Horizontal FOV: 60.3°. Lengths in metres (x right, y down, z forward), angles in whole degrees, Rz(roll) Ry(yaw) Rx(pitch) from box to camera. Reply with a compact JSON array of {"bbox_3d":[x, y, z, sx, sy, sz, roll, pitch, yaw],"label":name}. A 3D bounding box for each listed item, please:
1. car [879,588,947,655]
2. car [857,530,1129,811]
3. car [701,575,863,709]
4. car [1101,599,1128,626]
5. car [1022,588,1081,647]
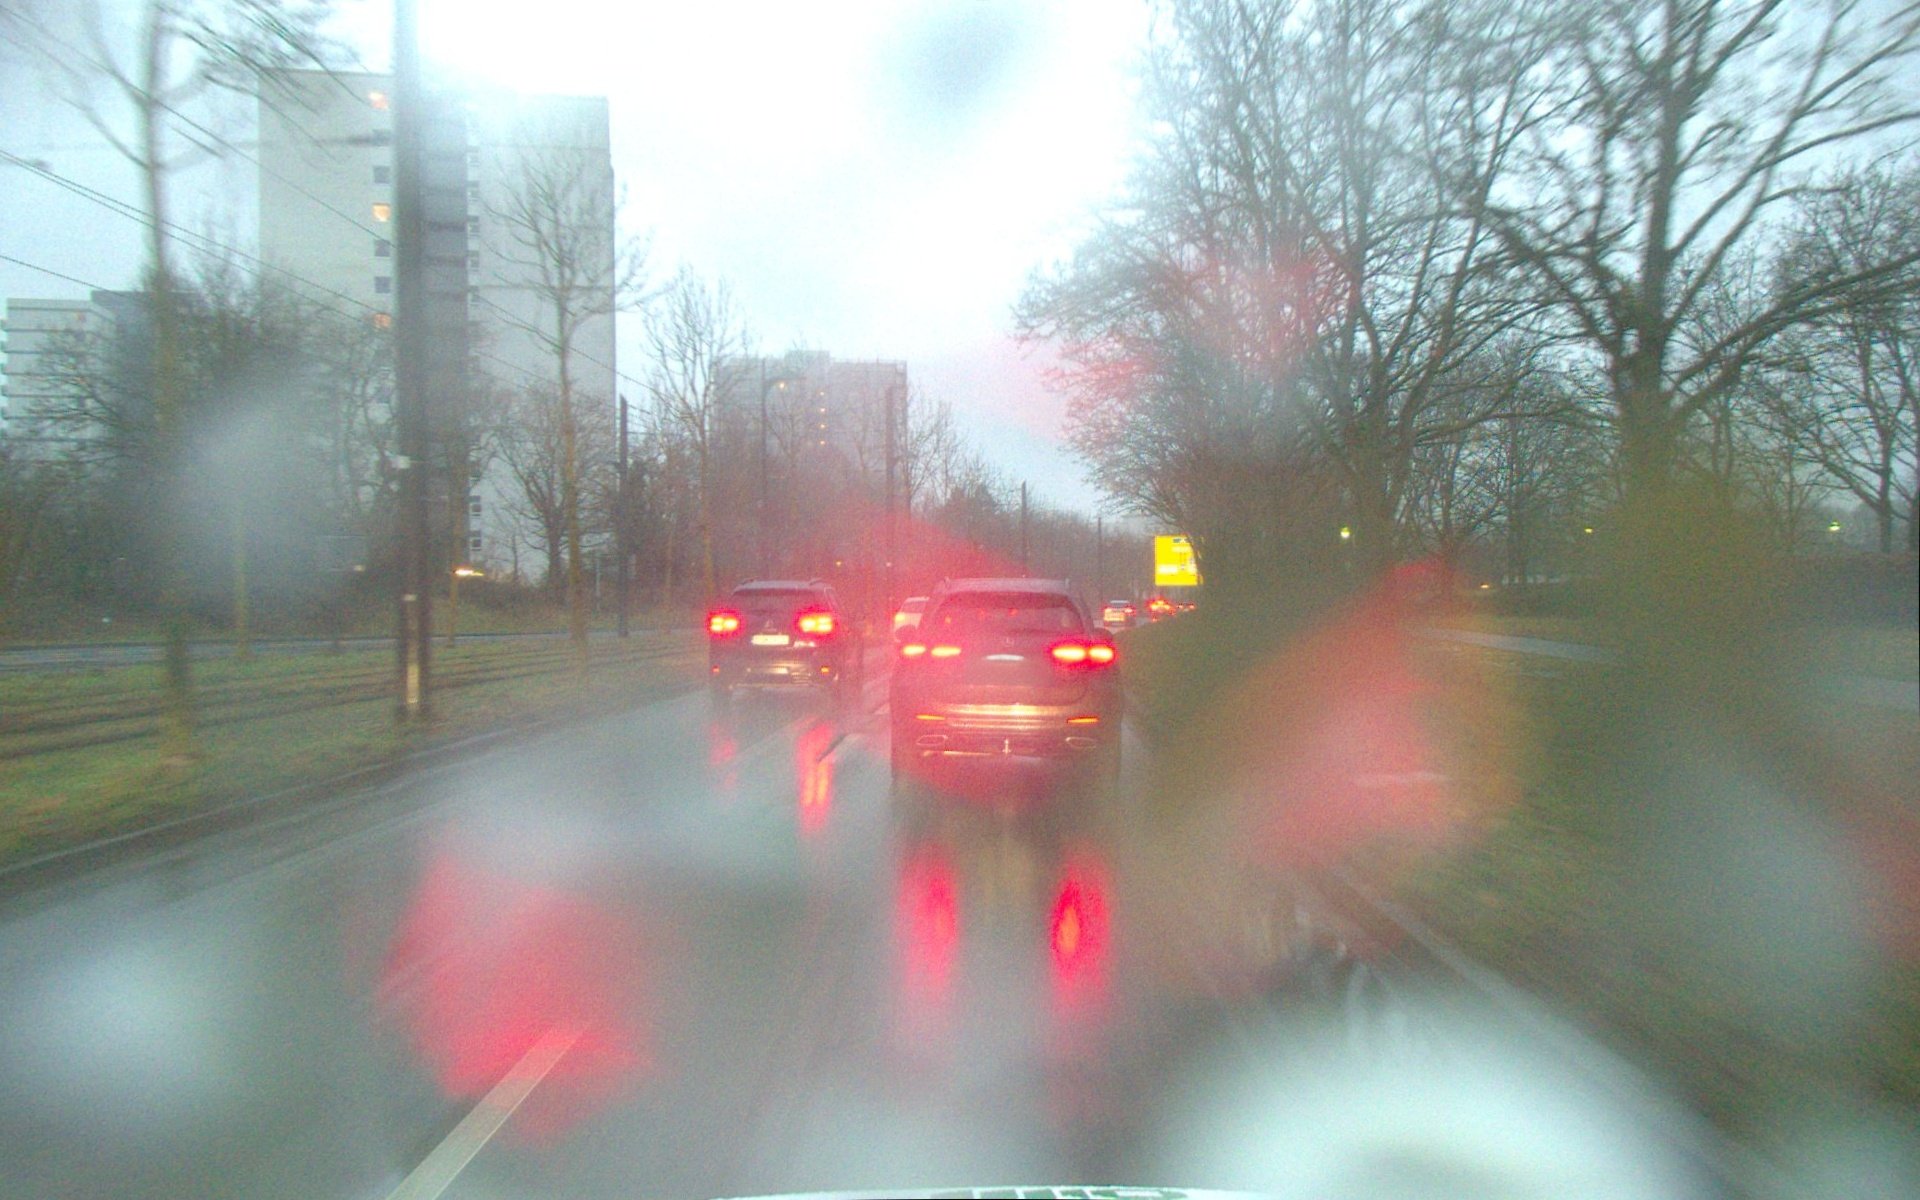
[{"bbox_3d":[-1.322,0.565,45.976,1.790,1.769,3.804,1,0,-2],"label":"car"},{"bbox_3d":[0.307,0.555,14.012,1.952,2.010,4.069,1,-1,2],"label":"car"},{"bbox_3d":[-2.474,0.610,24.019,1.953,1.742,4.323,1,-1,-1],"label":"car"},{"bbox_3d":[9.343,0.776,99.652,1.502,1.540,3.345,0,-1,7],"label":"car"},{"bbox_3d":[3.093,0.631,56.411,1.818,1.925,4.000,1,-1,1],"label":"car"}]
